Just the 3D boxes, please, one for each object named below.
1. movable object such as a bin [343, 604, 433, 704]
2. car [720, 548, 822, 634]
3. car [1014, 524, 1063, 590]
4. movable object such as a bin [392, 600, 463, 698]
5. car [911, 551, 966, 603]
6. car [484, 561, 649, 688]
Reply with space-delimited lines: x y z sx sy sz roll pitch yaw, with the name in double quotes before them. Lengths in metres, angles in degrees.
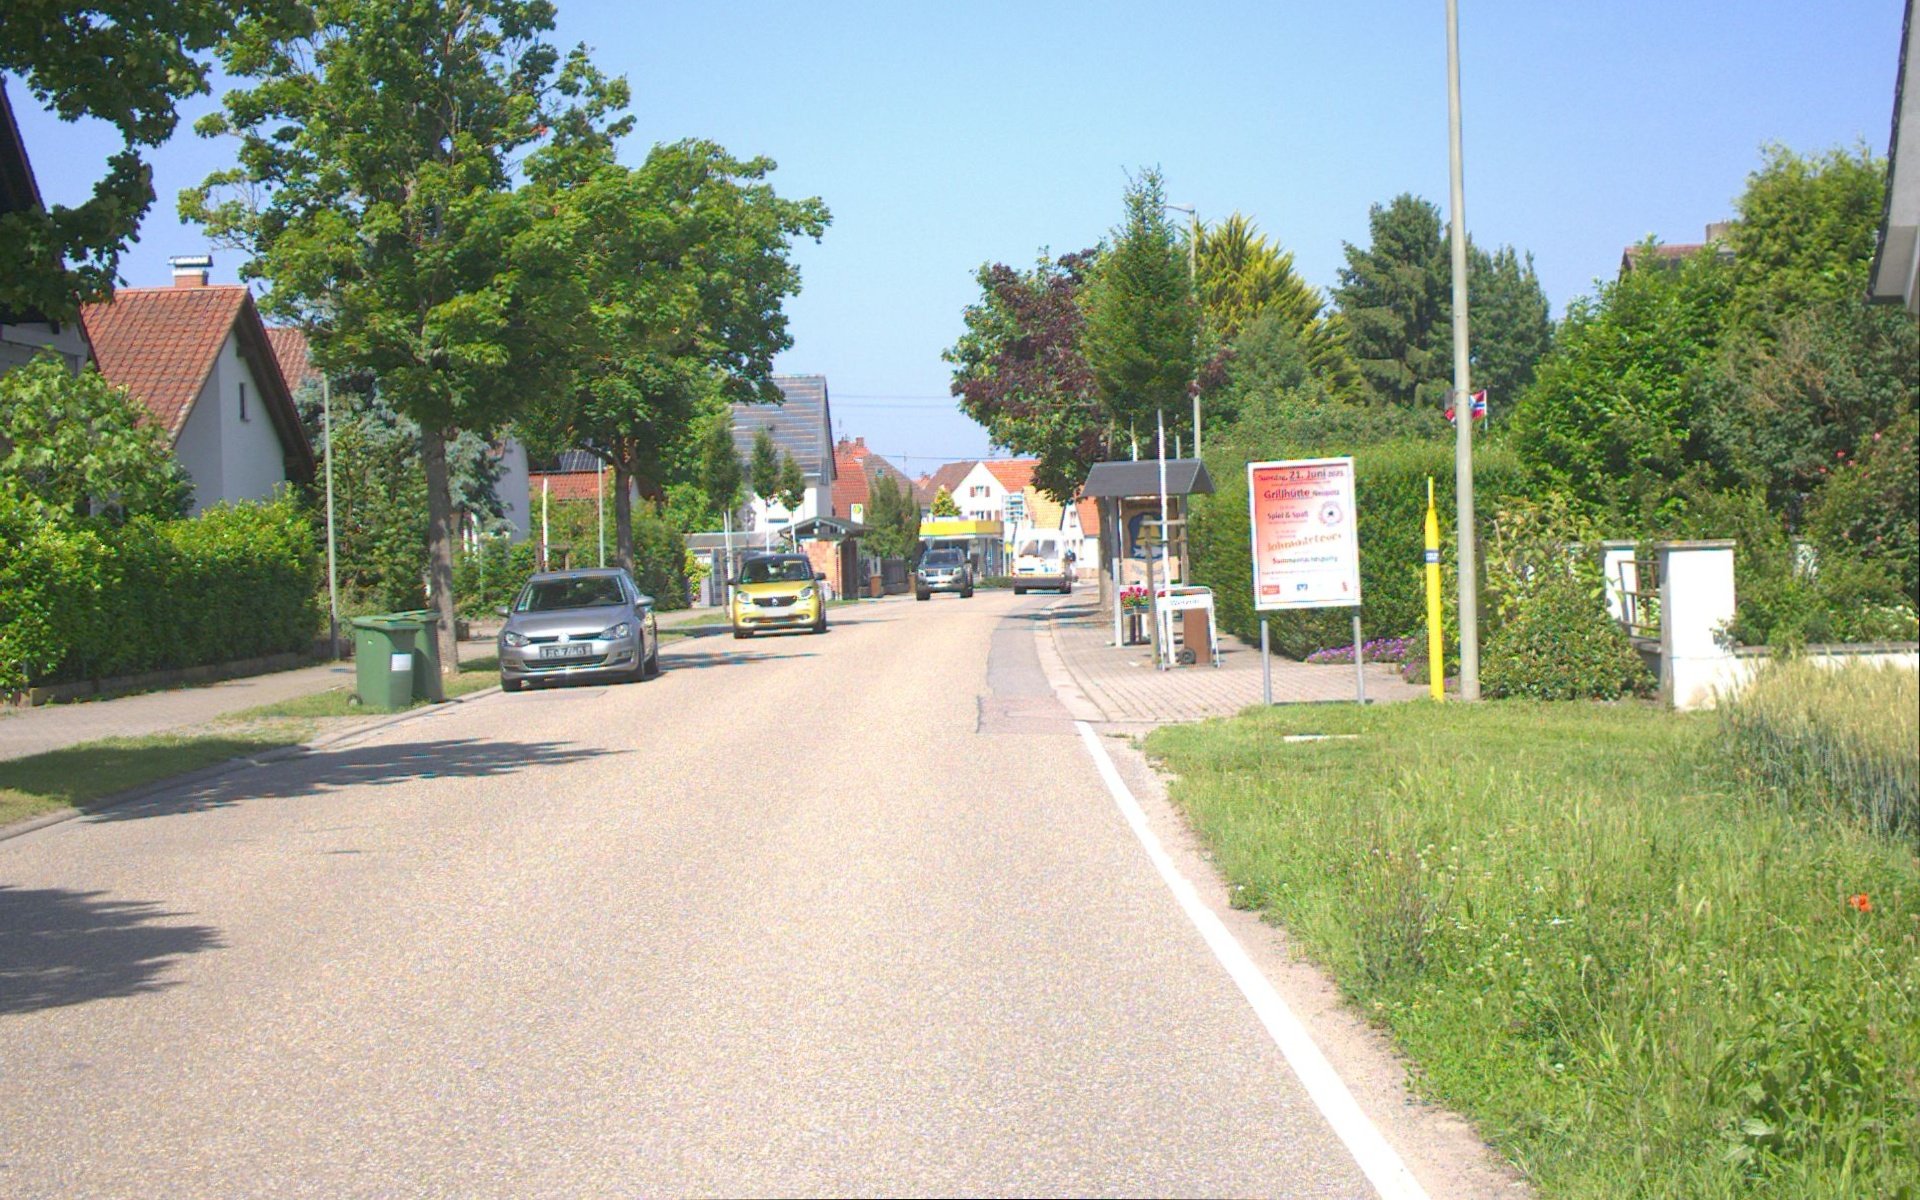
"movable object such as a bin" -6.370 0.600 38.316 0.714 1.075 0.639 -2 1 26
"car" -3.584 -0.186 65.790 1.666 1.519 3.442 -3 1 0
"car" 3.023 -1.643 132.169 1.738 2.424 4.374 -2 1 1
"movable object such as a bin" -6.031 0.555 38.965 0.575 1.075 0.598 -2 1 14
"car" -0.781 -0.849 123.760 1.835 1.747 3.796 -2 1 -1
"car" -4.963 0.276 43.758 1.647 1.419 4.081 -4 1 -2
